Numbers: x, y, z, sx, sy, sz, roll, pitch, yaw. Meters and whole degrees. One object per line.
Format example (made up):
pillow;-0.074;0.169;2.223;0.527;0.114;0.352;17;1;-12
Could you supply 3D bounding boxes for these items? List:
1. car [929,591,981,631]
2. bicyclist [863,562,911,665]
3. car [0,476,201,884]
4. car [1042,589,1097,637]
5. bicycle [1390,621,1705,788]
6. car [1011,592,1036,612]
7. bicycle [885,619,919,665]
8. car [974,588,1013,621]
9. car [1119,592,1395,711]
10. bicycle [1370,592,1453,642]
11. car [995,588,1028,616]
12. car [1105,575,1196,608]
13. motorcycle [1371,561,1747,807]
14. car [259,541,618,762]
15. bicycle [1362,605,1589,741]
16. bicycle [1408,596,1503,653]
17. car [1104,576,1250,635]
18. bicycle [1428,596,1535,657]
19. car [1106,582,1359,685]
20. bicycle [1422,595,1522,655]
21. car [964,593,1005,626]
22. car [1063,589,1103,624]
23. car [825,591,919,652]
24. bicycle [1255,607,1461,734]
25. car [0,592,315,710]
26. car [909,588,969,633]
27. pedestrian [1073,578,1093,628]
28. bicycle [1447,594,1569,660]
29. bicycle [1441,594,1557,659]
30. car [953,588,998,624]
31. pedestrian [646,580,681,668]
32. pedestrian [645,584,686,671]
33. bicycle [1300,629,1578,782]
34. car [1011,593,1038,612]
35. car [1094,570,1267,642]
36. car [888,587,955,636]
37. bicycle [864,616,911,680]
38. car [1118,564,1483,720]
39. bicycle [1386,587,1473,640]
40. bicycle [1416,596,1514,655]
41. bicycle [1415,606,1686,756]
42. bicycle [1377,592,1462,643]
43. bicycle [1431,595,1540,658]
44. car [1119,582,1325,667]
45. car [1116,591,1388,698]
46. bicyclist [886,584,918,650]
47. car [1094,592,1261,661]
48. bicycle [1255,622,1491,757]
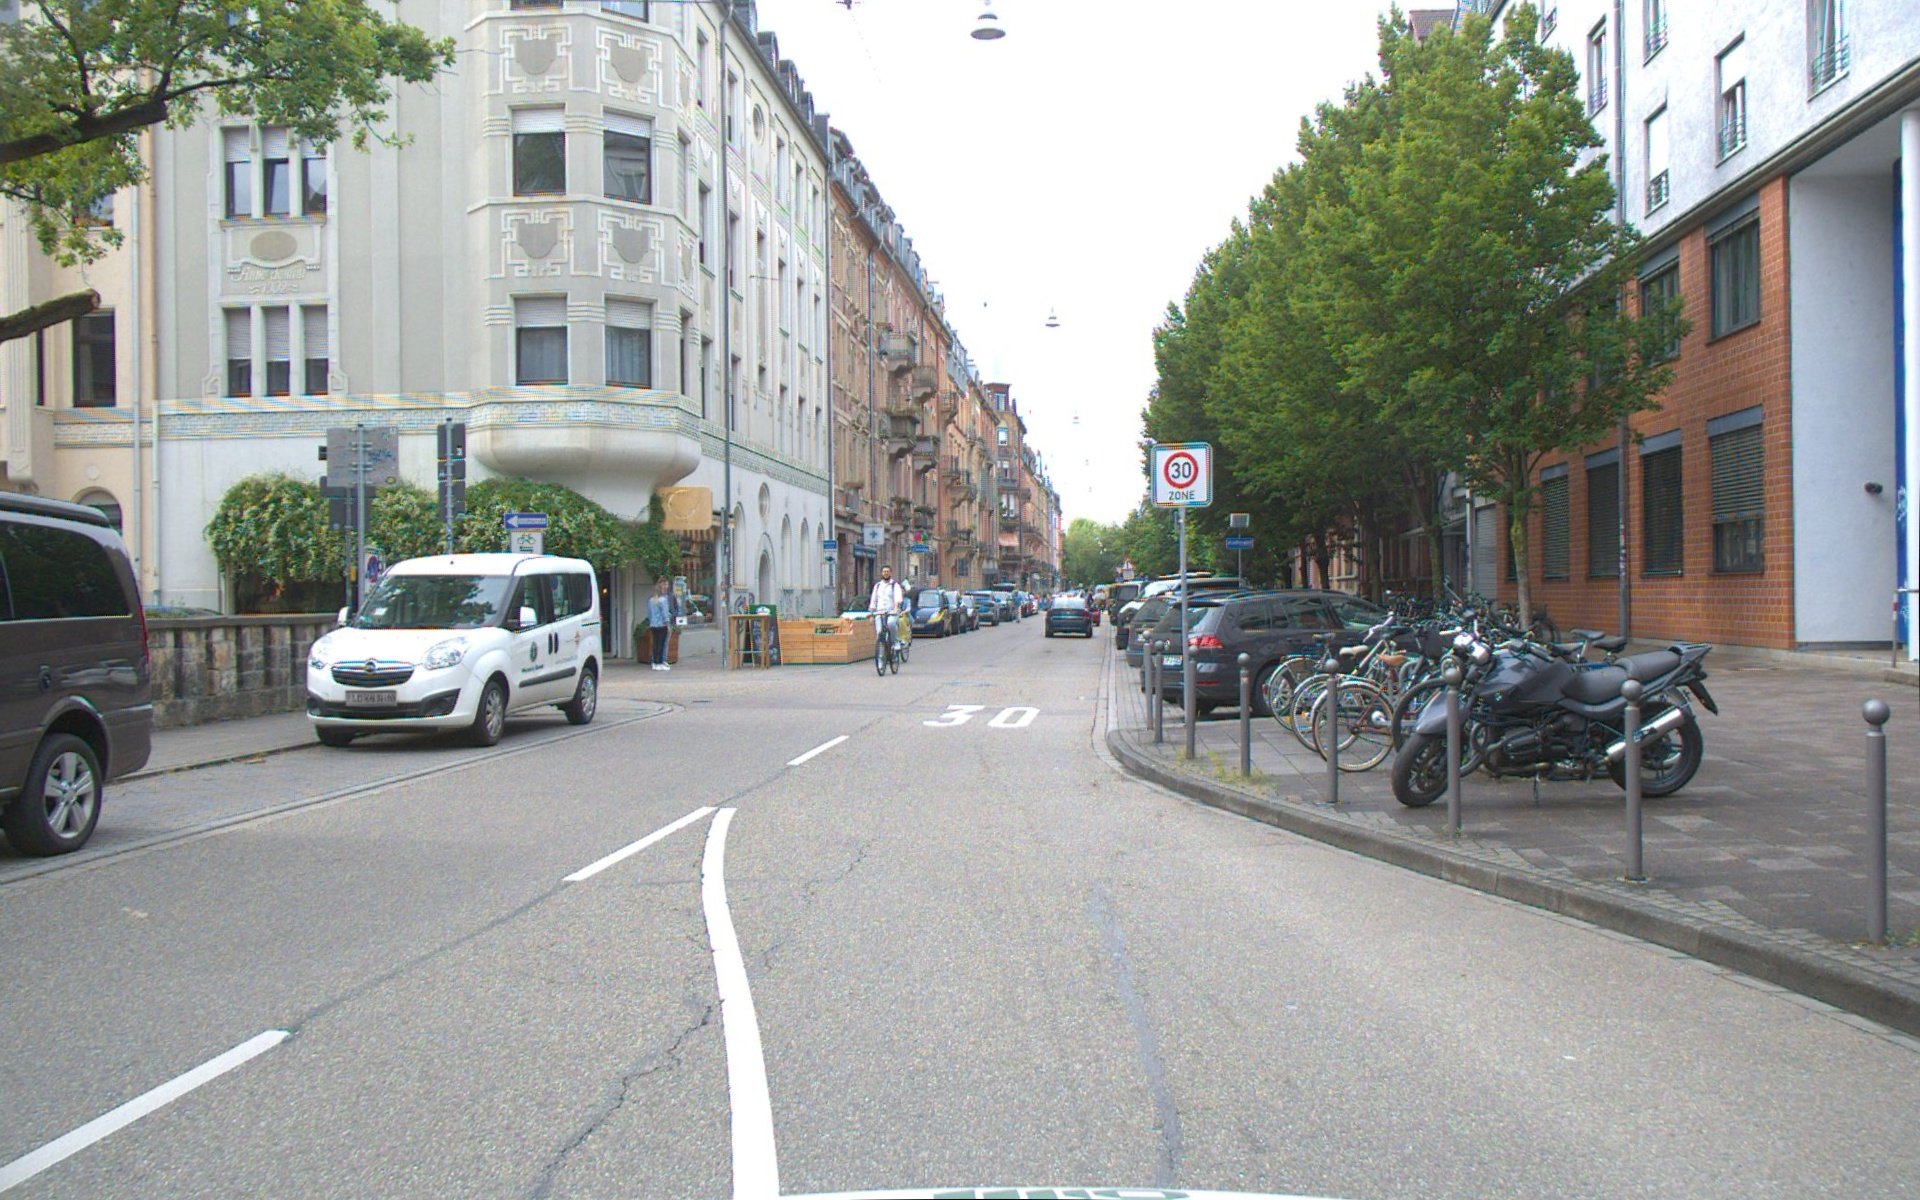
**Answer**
car;-0.187;0.444;70.151;1.903;1.645;3.945;0;0;4
bicyclist;-1.364;0.240;30.945;0.765;1.899;0.715;-1;0;7
car;-5.868;0.412;7.663;1.971;2.049;5.186;0;0;5
car;4.048;0.512;61.271;1.951;1.710;4.002;0;-1;4
bicycle;4.113;0.726;11.667;1.967;1.081;0.612;-2;-1;2
car;5.029;0.157;131.500;1.952;1.525;4.001;0;-1;2
bicycle;-1.270;0.919;36.461;0.524;0.995;1.866;0;-1;4
car;1.871;0.260;91.059;1.903;1.772;3.945;0;0;5
car;4.180;0.667;23.249;3.518;1.525;1.827;-1;0;-31
bicycle;10.149;0.380;37.210;1.715;1.111;0.565;0;-1;5
car;3.416;0.125;108.609;1.903;1.769;3.945;-1;0;5
car;11.724;-0.522;101.718;5.317;1.900;1.935;-2;0;-25
motorcycle;3.803;0.530;10.640;2.089;1.454;0.771;-2;-1;2
car;-5.156;0.444;17.091;1.804;1.973;4.551;0;0;7
bicycle;4.686;0.658;15.110;1.844;1.161;0.612;-2;-1;2
bicycle;9.783;0.489;32.682;1.715;1.111;0.565;0;-1;5
car;8.157;0.185;62.024;5.328;2.027;1.931;-2;0;-29
bicycle;9.662;0.487;30.664;1.797;1.111;0.565;0;-1;5
car;4.765;0.554;28.918;3.998;1.612;1.887;-2;0;-26
bicycle;9.684;0.480;31.295;1.715;1.111;0.565;0;-1;5
car;1.293;0.468;85.480;1.903;1.645;3.945;0;0;4
car;6.235;0.350;83.808;1.951;1.710;4.002;0;-1;4
car;-2.408;0.585;46.344;1.903;1.580;3.820;-2;0;8
bicycle;3.882;0.680;16.210;1.844;1.161;0.612;-2;-1;2
car;-12.009;0.751;24.779;3.973;1.635;1.769;-1;-1;3
car;-0.769;0.394;63.075;1.903;1.645;3.945;0;0;5
pedestrian;5.473;0.137;73.540;0.872;2.183;1.028;0;-1;4
bicycle;9.416;0.459;28.466;1.892;1.111;0.577;0;-1;5
bicycle;9.463;0.470;29.071;1.855;1.111;0.543;0;-1;5
car;0.772;0.278;79.226;1.903;1.645;3.945;-1;0;4
pedestrian;-6.007;0.489;33.480;0.572;1.765;0.500;0;-1;-31
pedestrian;-5.822;0.545;32.702;0.567;1.689;0.575;-1;-1;26
bicycle;3.586;0.783;12.490;1.889;1.061;0.612;-2;-1;2
car;4.814;0.220;123.488;1.952;1.344;4.001;0;-1;2
car;7.218;0.170;53.968;5.546;2.164;1.931;-2;0;-29
car;-1.306;0.402;57.624;1.903;1.645;3.945;0;0;5
bicycle;-1.338;0.871;30.697;0.555;1.106;1.988;-1;0;7
car;4.250;0.473;20.546;4.226;1.606;1.846;-3;0;-28
bicycle;10.089;0.296;35.606;1.715;1.111;0.565;0;-1;5
bicycle;9.785;0.499;32.073;1.715;1.111;0.565;0;-1;5
bicycle;4.645;0.633;13.092;1.889;1.096;0.612;-2;-1;2
bicycle;10.128;0.382;36.473;1.715;1.111;0.565;0;-1;5
bicycle;9.478;0.484;29.882;1.797;1.111;0.543;0;-1;5
car;5.518;0.504;34.799;3.997;1.612;1.756;-2;0;-26
car;4.641;0.685;26.279;3.924;1.570;1.860;1;0;-26
bicyclist;-1.278;0.380;36.480;0.654;1.423;0.784;0;-1;2
car;5.294;0.625;40.122;3.819;1.531;1.749;-2;0;-35
bicycle;3.505;0.754;14.135;1.844;1.061;0.612;-2;-1;2
